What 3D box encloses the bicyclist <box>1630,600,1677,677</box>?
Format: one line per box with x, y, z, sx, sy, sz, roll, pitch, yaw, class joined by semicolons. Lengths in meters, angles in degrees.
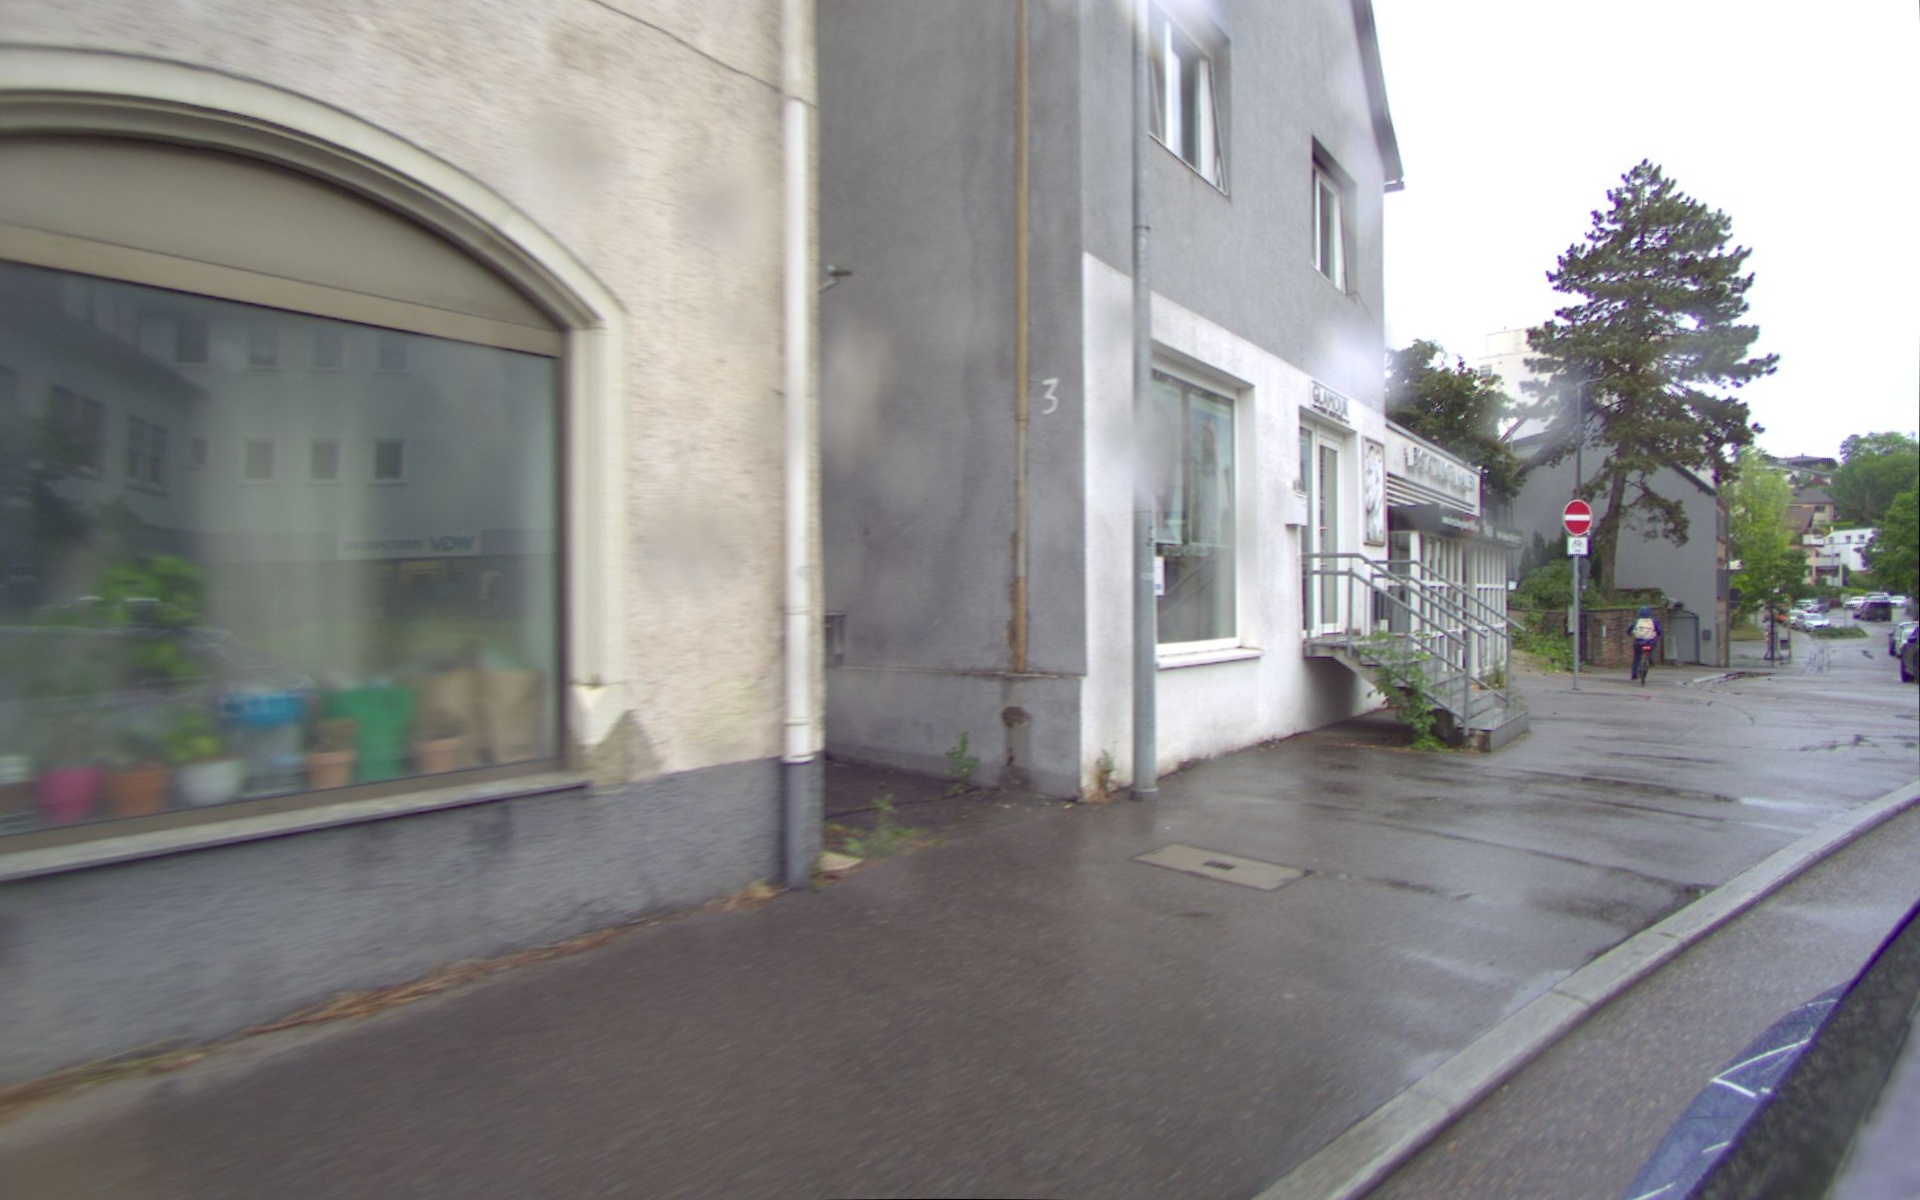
14.282;0.777;20.870;0.679;1.537;1.020;1;-1;29;bicyclist

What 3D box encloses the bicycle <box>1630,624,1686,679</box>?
14.269;1.051;20.735;0.757;1.048;2.058;1;-2;30;bicycle

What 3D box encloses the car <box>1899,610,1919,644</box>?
52.047;1.386;54.515;1.992;1.594;3.940;-6;-2;43;car

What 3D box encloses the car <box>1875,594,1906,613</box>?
88.803;0.357;96.575;1.995;1.593;3.934;1;-1;45;car
